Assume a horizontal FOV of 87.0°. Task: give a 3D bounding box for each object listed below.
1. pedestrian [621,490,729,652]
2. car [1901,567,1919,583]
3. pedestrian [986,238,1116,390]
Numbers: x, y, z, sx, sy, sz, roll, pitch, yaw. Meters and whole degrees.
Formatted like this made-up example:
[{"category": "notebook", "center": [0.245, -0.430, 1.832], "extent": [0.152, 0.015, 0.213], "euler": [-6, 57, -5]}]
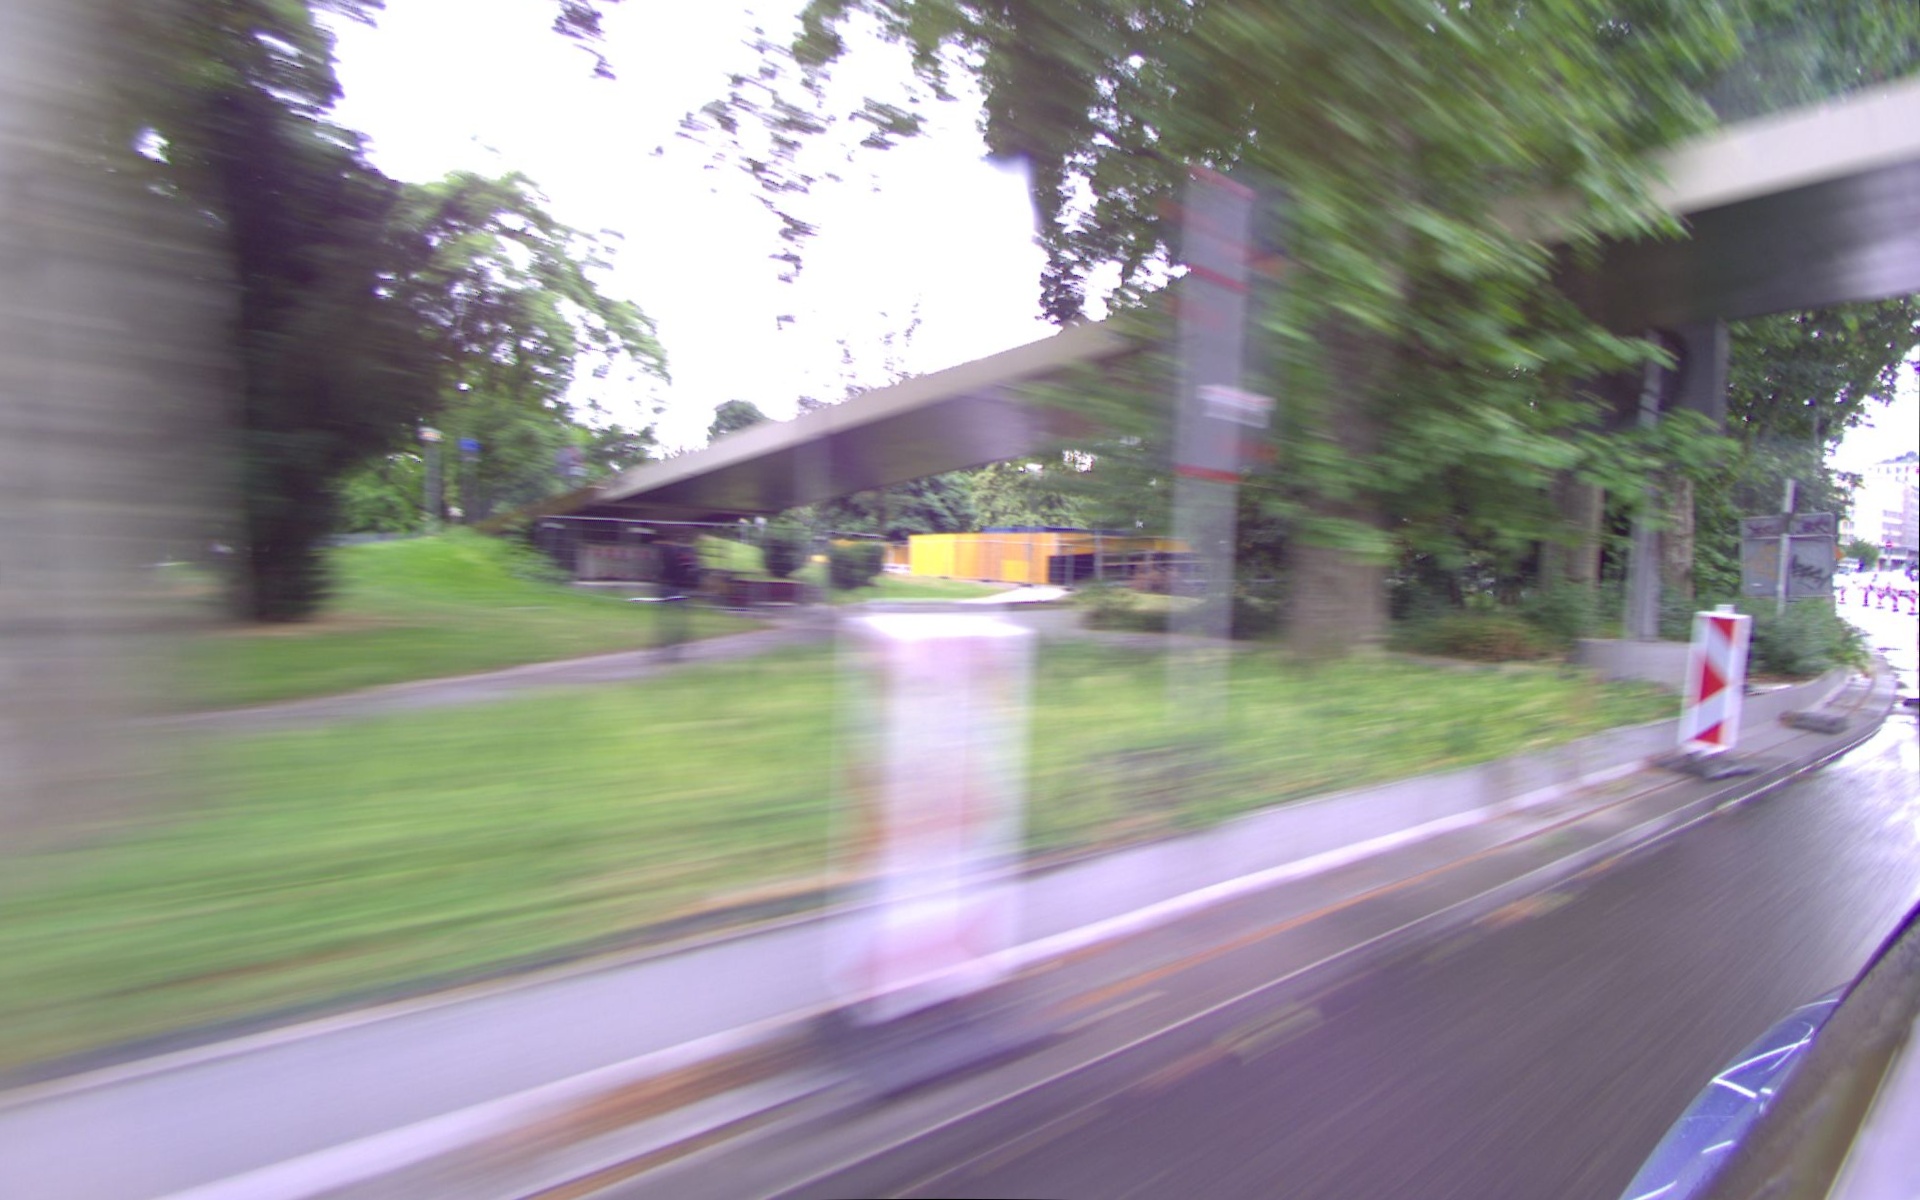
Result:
[{"category": "pedestrian", "center": [-3.757, -0.383, 13.438], "extent": [1.034, 2.039, 1.037], "euler": [1, 1, 7]}, {"category": "car", "center": [119.527, -3.142, 126.847], "extent": [1.992, 1.836, 4.231], "euler": [3, 3, 40]}, {"category": "pedestrian", "center": [1.533, -4.802, 17.289], "extent": [1.094, 2.038, 1.987], "euler": [-1, 2, -44]}]
